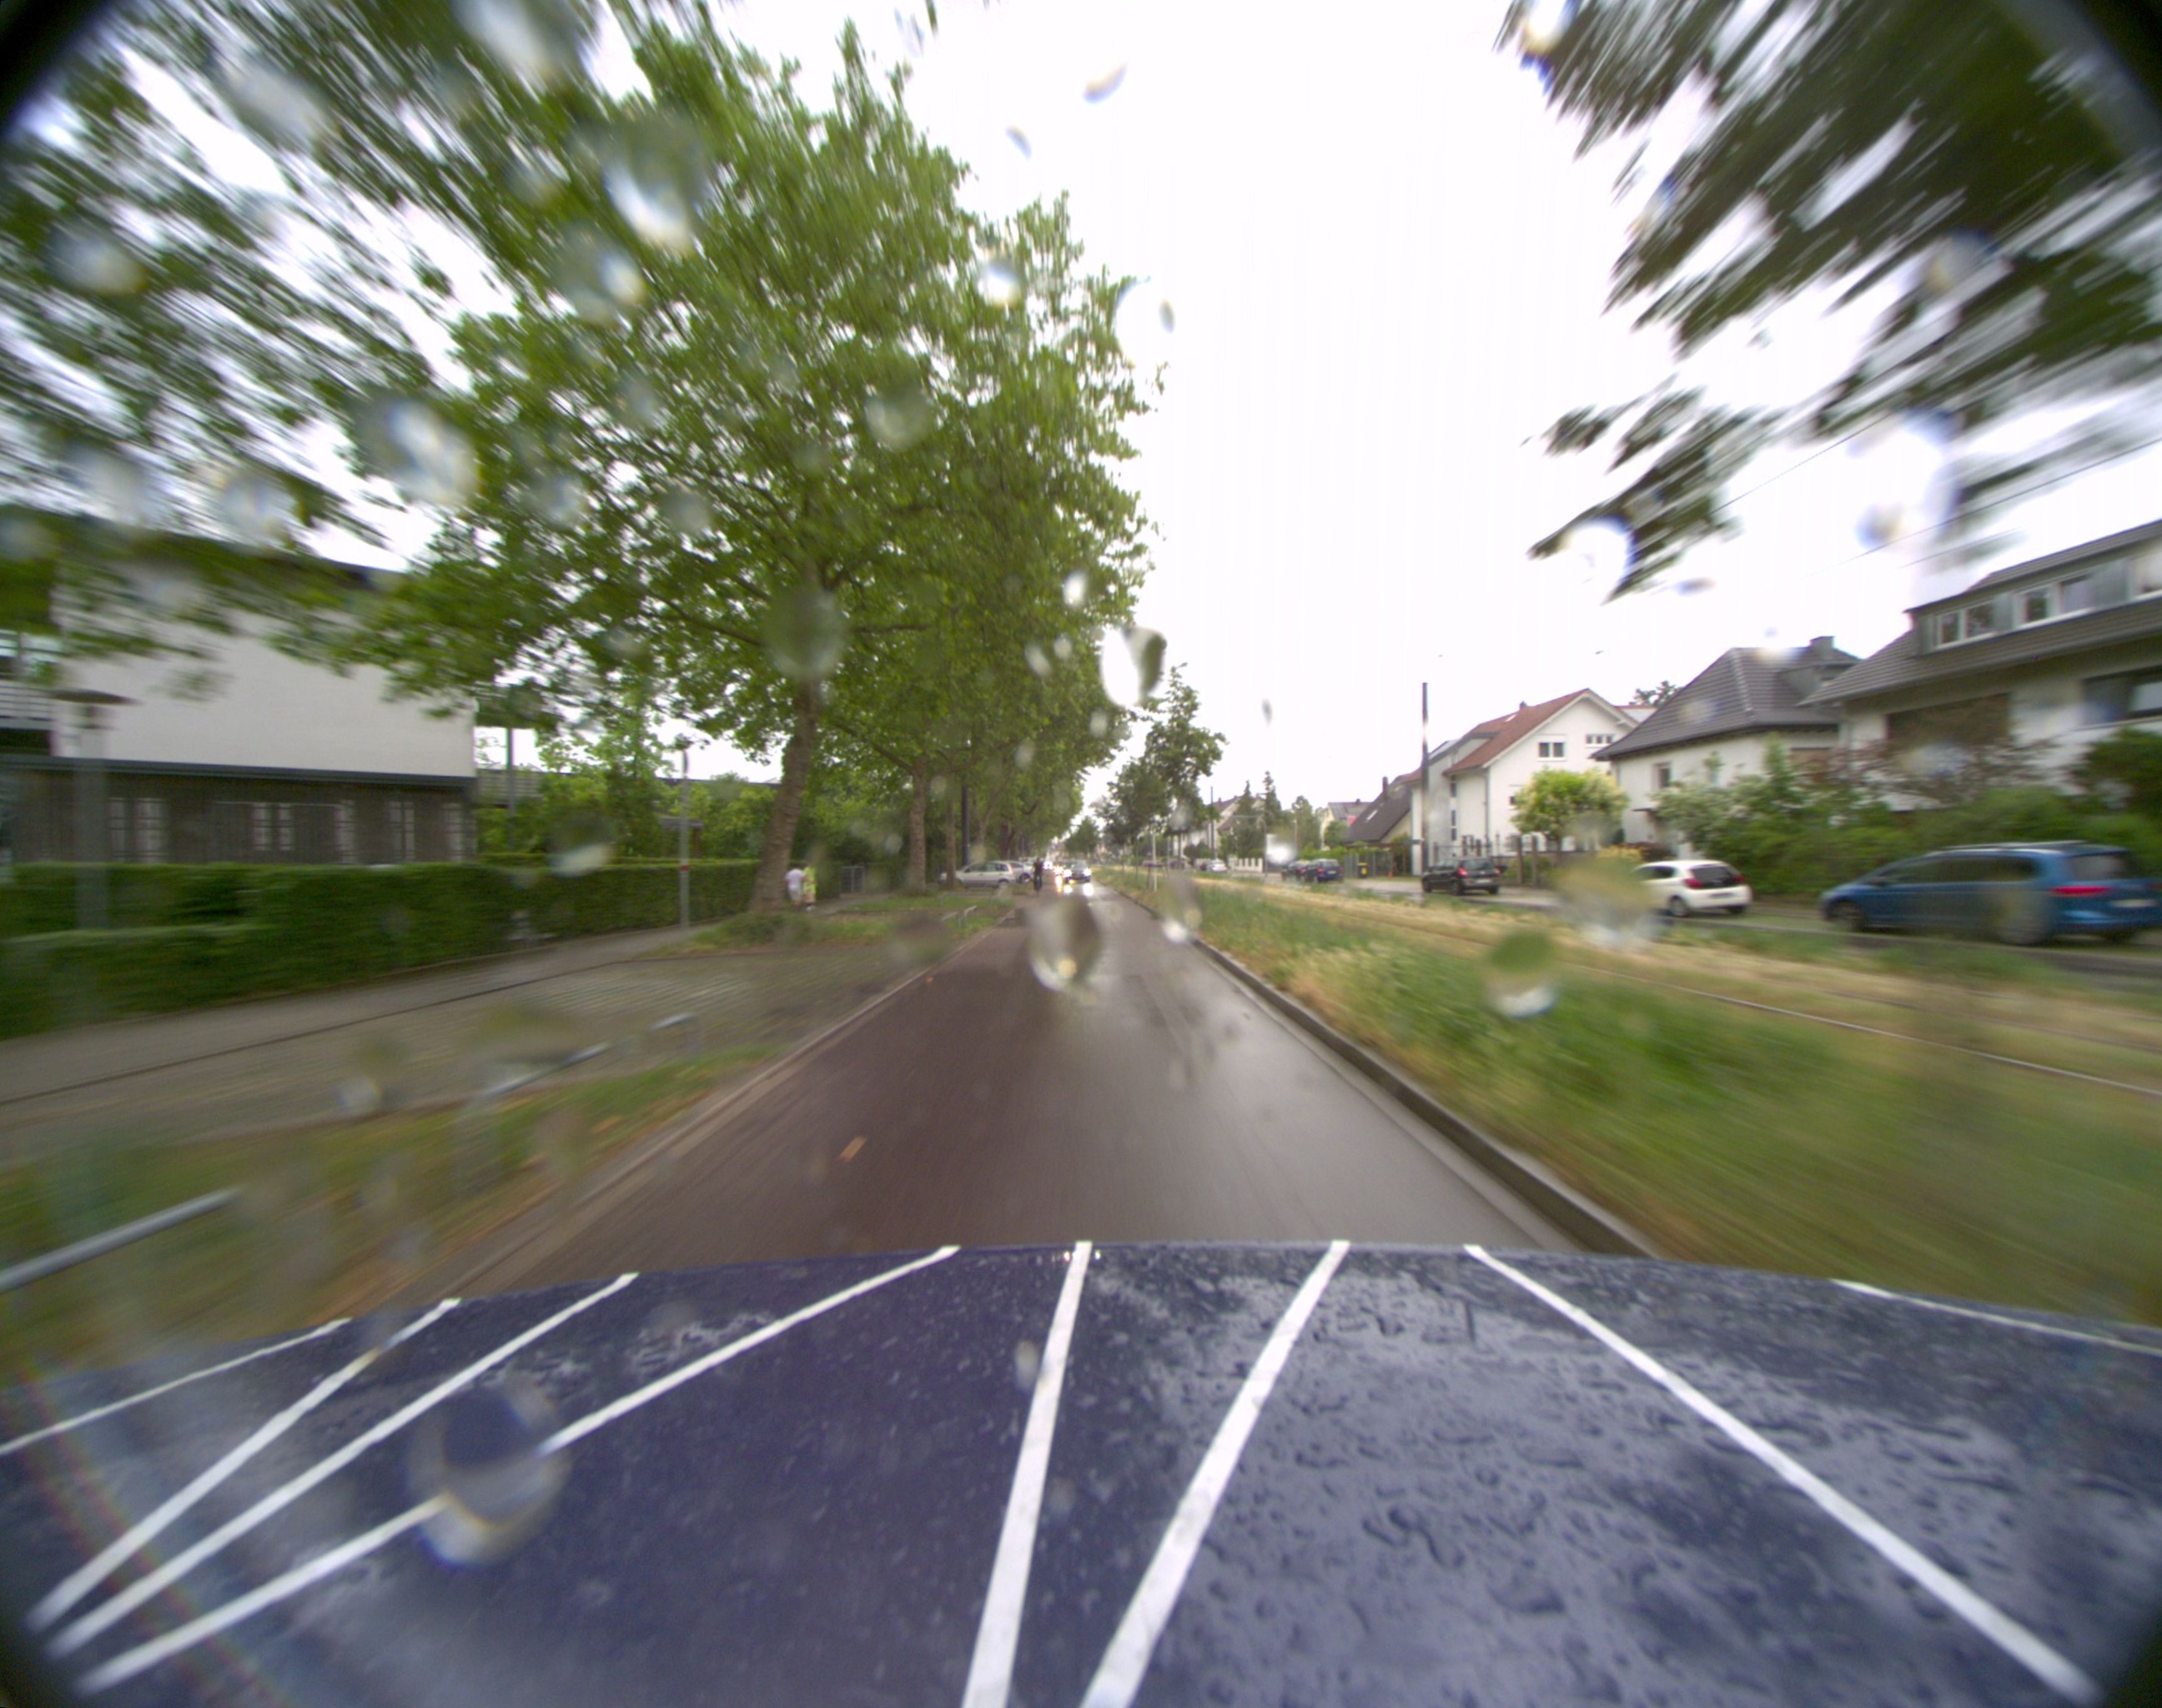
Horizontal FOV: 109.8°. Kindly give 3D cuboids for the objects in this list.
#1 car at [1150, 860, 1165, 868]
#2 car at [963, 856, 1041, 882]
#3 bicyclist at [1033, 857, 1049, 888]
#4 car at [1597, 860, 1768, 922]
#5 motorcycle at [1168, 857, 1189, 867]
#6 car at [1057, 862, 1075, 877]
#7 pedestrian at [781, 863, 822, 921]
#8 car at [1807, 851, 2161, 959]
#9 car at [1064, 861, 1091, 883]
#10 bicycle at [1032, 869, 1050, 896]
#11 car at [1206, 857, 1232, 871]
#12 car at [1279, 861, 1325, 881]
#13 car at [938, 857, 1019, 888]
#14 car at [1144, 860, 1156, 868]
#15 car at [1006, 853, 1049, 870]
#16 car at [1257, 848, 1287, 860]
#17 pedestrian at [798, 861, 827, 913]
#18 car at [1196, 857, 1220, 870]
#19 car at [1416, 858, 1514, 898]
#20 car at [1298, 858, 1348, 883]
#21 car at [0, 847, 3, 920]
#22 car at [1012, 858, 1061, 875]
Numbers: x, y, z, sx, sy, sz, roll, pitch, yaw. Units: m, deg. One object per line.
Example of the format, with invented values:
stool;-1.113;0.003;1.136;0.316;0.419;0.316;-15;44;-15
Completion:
car;13.355;1.742;132.441;1.999;1.402;4.761;-3;0;0
car;-5.211;0.968;50.498;4.784;1.658;1.989;0;0;-38
bicyclist;-1.846;0.841;35.018;0.675;1.421;0.753;1;0;-7
car;16.408;0.948;20.983;1.801;1.480;3.597;-3;0;0
motorcycle;14.180;1.177;110.323;2.680;1.403;1.269;-1;1;40
car;-1.614;1.572;79.895;1.781;1.477;3.999;2;-1;-3
pedestrian;-7.547;1.018;20.560;0.835;1.529;0.859;0;0;-5
car;16.555;0.814;14.045;1.998;1.604;4.413;-3;0;0
car;-0.297;1.286;55.963;1.781;1.477;3.999;2;-1;-3
bicycle;-1.866;1.292;35.161;0.675;1.136;2.443;1;0;-7
car;15.133;1.118;83.662;1.999;1.402;3.971;-3;0;-2
car;15.868;1.202;54.688;1.999;1.342;4.240;-3;0;0
car;-5.328;0.940;39.407;3.871;1.557;1.616;1;0;-19
car;13.016;1.848;143.892;1.802;1.448;4.000;-3;0;0
car;-6.603;0.933;94.759;5.040;2.001;1.995;1;-1;-37
car;28.422;-0.014;113.011;3.969;1.531;1.704;-3;0;-3
pedestrian;-8.109;0.968;22.971;0.558;1.529;0.966;0;0;-5
car;14.800;1.119;88.862;1.999;1.447;4.531;-3;0;0
car;16.288;0.968;32.481;1.999;1.507;4.205;-3;0;0
car;15.793;1.066;49.862;1.879;1.541;3.869;-3;0;-2
car;-21.037;0.580;13.308;1.842;1.465;3.691;0;0;-45
car;-4.435;1.261;76.649;4.570;1.535;1.883;3;-2;-34
